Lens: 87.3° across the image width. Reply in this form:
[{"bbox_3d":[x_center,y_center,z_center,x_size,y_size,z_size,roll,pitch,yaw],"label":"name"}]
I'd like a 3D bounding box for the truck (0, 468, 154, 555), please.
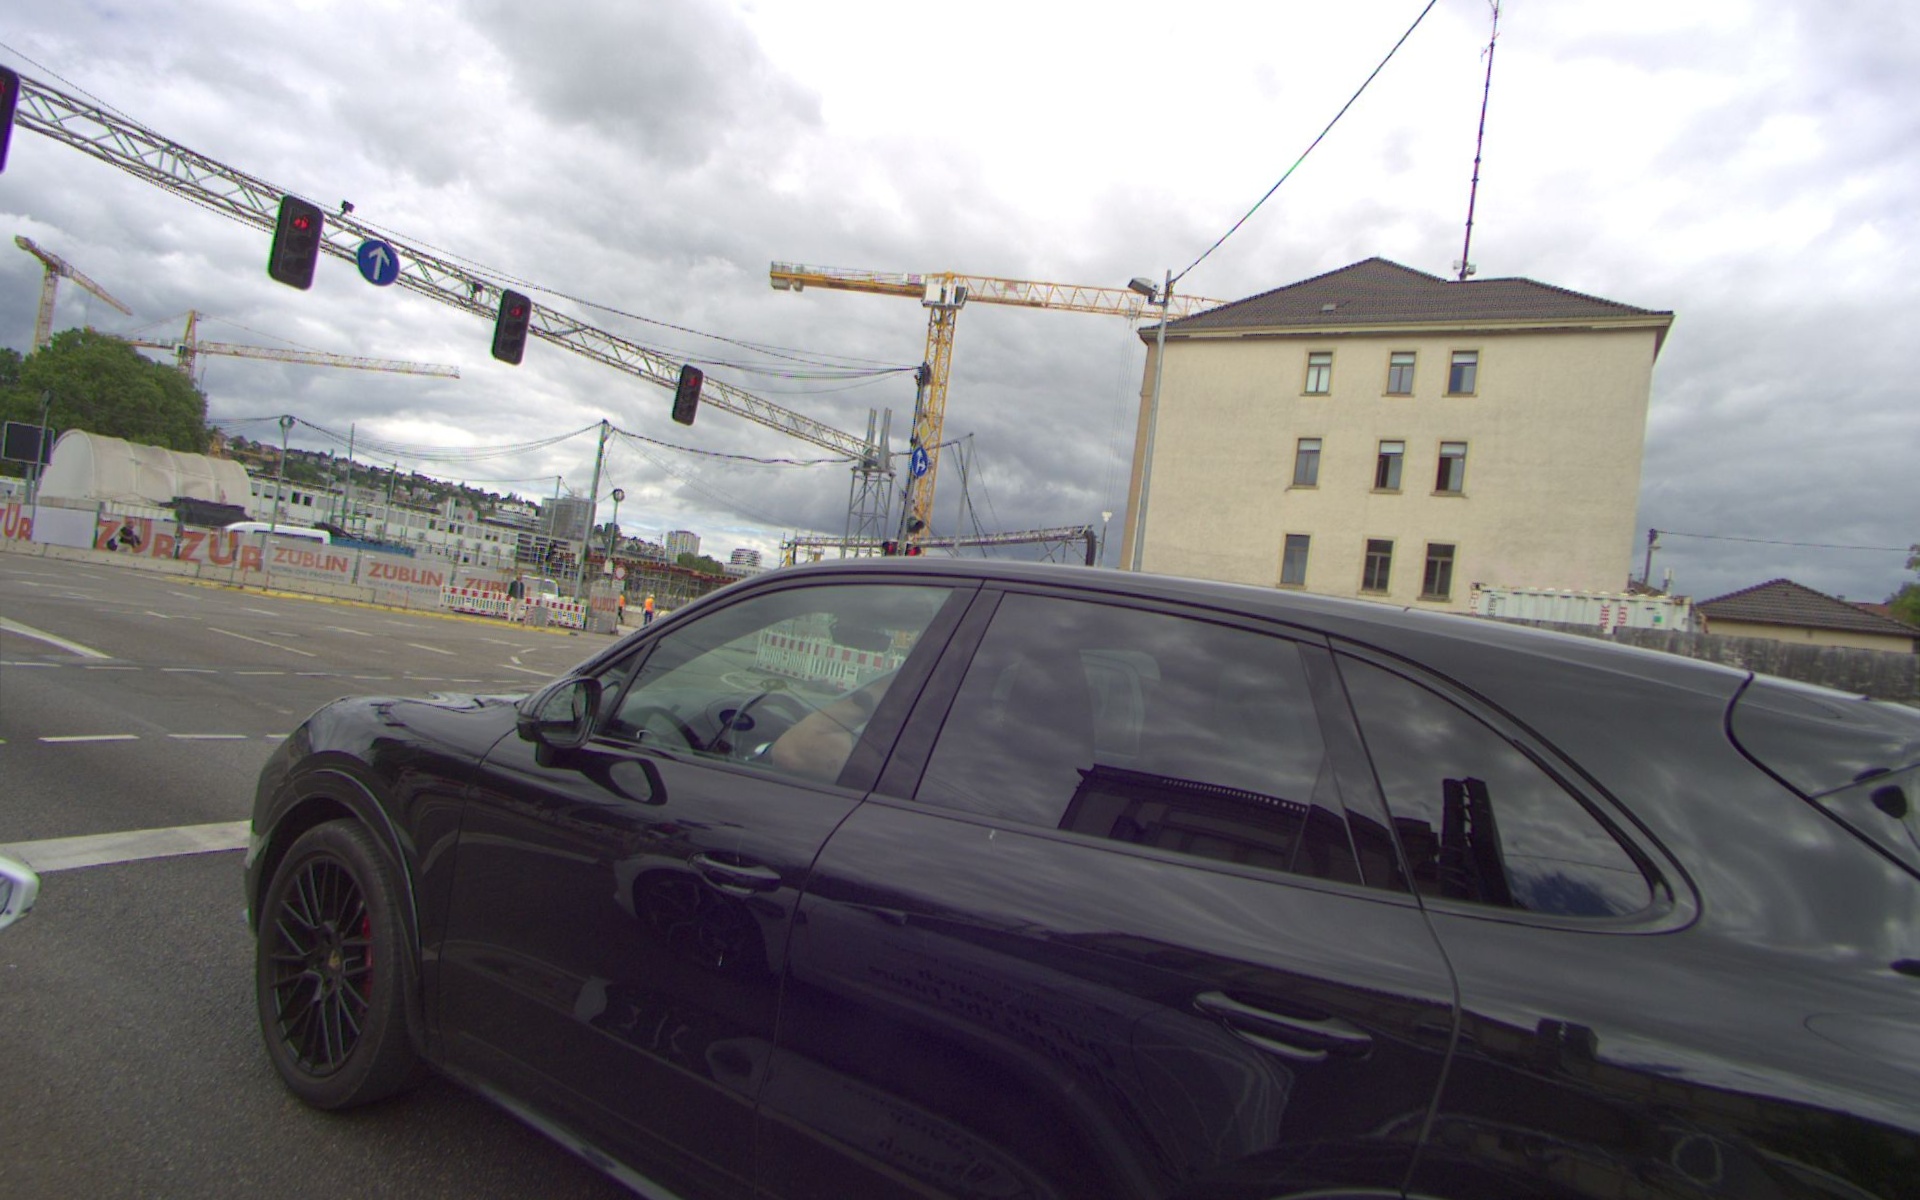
[{"bbox_3d":[-57.900,-5.798,61.931,3.875,4.086,13.089,8,-2,12],"label":"truck"}]

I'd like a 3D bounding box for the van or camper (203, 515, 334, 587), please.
[{"bbox_3d":[-29.811,-2.075,43.414,4.204,2.384,1.976,10,-3,-44],"label":"van or camper"}]

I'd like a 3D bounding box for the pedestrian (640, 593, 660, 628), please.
[{"bbox_3d":[-16.305,0.572,52.864,0.508,1.737,0.654,7,-1,21],"label":"pedestrian"}]

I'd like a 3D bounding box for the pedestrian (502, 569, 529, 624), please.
[{"bbox_3d":[-17.234,-0.123,38.999,0.647,2.037,0.513,8,-1,-33],"label":"pedestrian"}]

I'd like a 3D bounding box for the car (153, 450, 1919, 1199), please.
[{"bbox_3d":[0.038,0.716,2.700,4.559,1.705,1.959,7,-2,33],"label":"car"}]

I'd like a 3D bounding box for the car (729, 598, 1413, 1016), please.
[{"bbox_3d":[0.594,1.044,6.376,3.818,1.561,1.667,7,-2,33],"label":"car"}]

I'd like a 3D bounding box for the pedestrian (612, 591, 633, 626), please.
[{"bbox_3d":[-18.327,0.459,54.643,0.607,1.816,0.654,7,-1,23],"label":"pedestrian"}]

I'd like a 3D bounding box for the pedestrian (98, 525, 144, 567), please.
[{"bbox_3d":[-31.782,-2.025,38.117,0.888,1.393,0.800,8,-1,4],"label":"pedestrian"}]
